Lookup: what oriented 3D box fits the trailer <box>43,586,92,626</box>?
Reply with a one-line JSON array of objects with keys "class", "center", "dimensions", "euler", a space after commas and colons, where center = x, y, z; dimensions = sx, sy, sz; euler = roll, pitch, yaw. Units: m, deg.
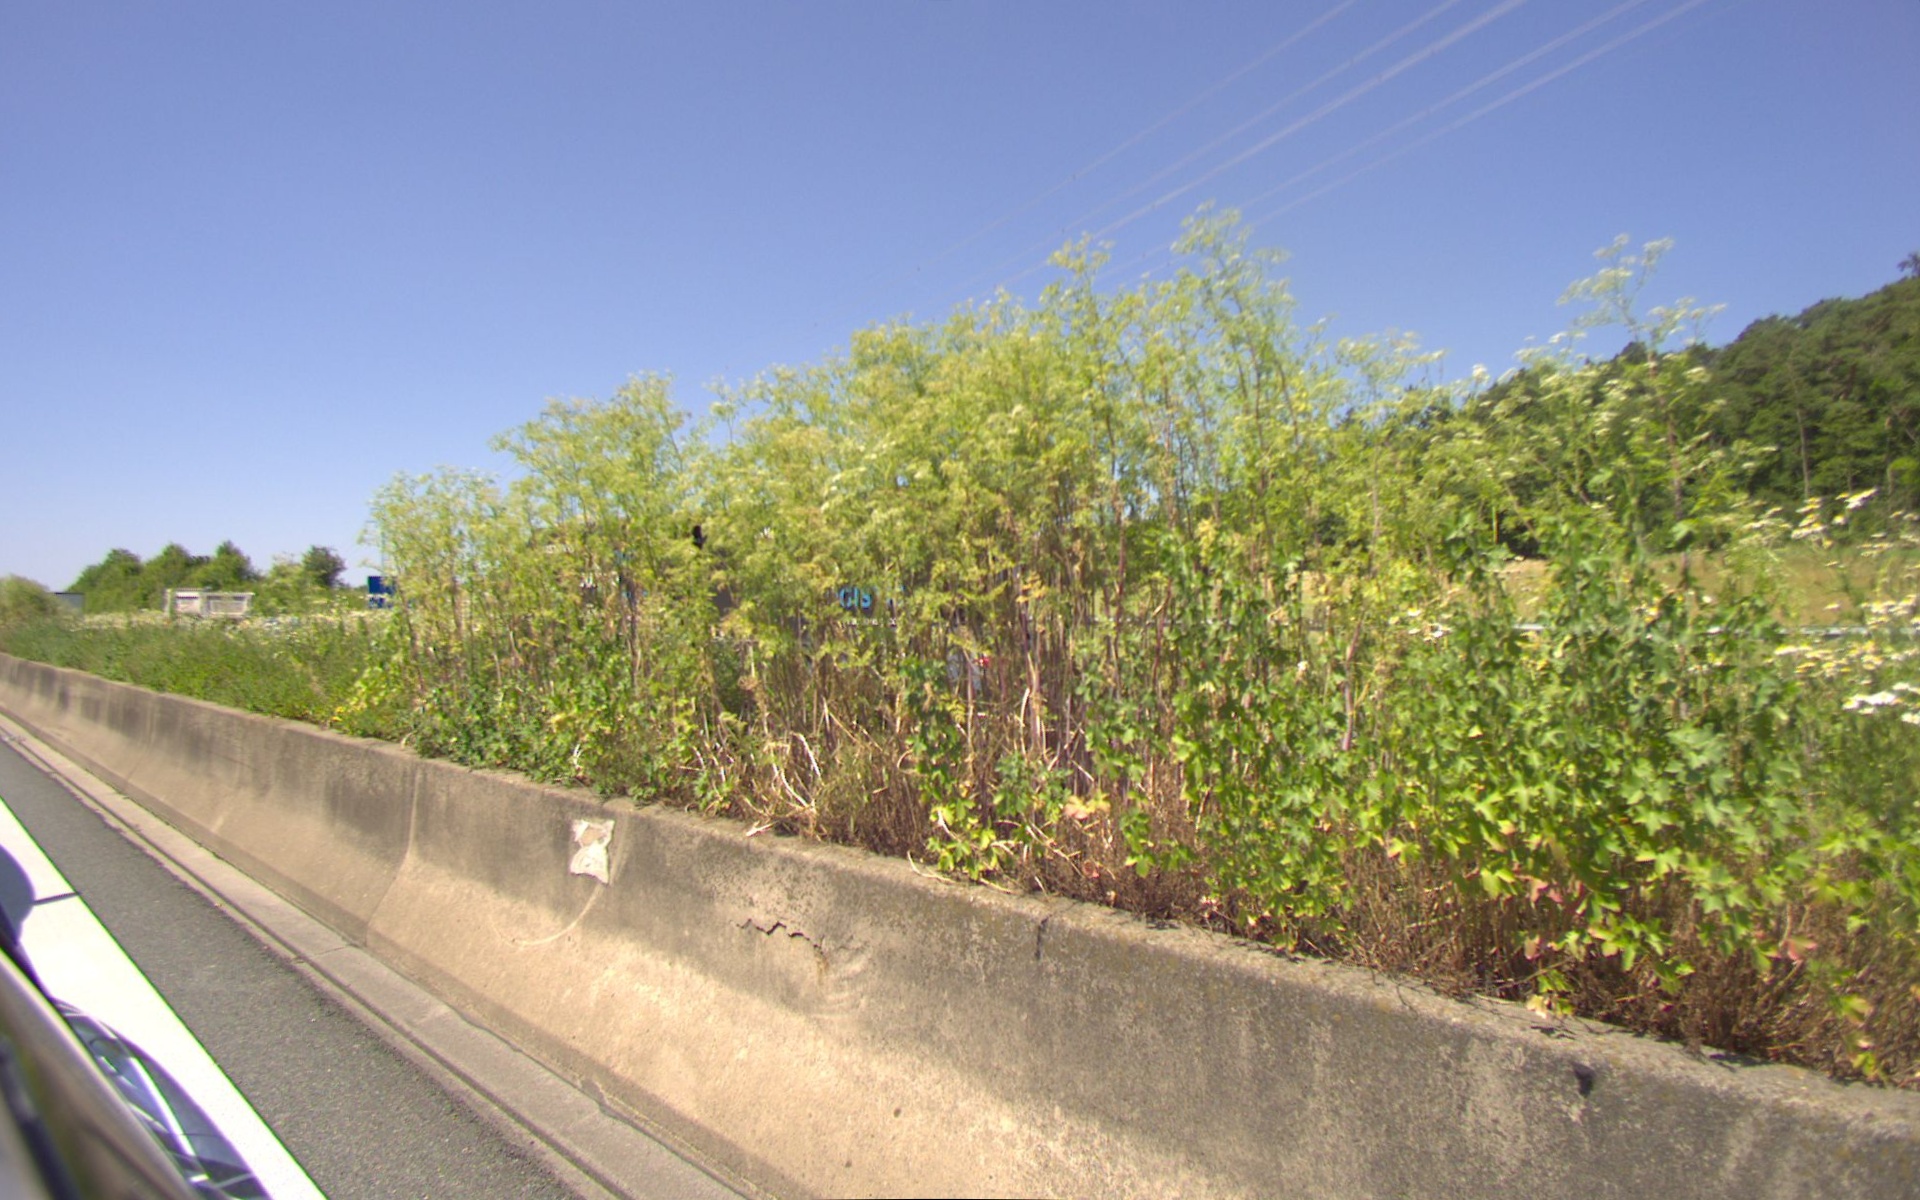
[{"class": "trailer", "center": [-99.719, 0.641, 112.992], "dimensions": [10.980, 4.260, 2.979], "euler": [-1, -1, 43]}]

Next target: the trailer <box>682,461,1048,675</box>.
[{"class": "trailer", "center": [-2.328, -0.495, 21.838], "dimensions": [8.197, 3.790, 3.149], "euler": [-1, -2, 42]}]

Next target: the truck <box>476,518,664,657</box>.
[{"class": "truck", "center": [-11.640, -0.288, 30.046], "dimensions": [5.460, 3.738, 3.039], "euler": [-1, -1, 41]}]

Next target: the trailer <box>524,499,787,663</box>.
[{"class": "trailer", "center": [-8.369, -0.367, 27.178], "dimensions": [7.866, 3.787, 3.092], "euler": [-1, -1, 41]}]

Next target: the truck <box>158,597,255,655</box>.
[{"class": "truck", "center": [-46.705, 1.548, 62.525], "dimensions": [11.819, 3.313, 2.735], "euler": [-1, -1, 43]}]
